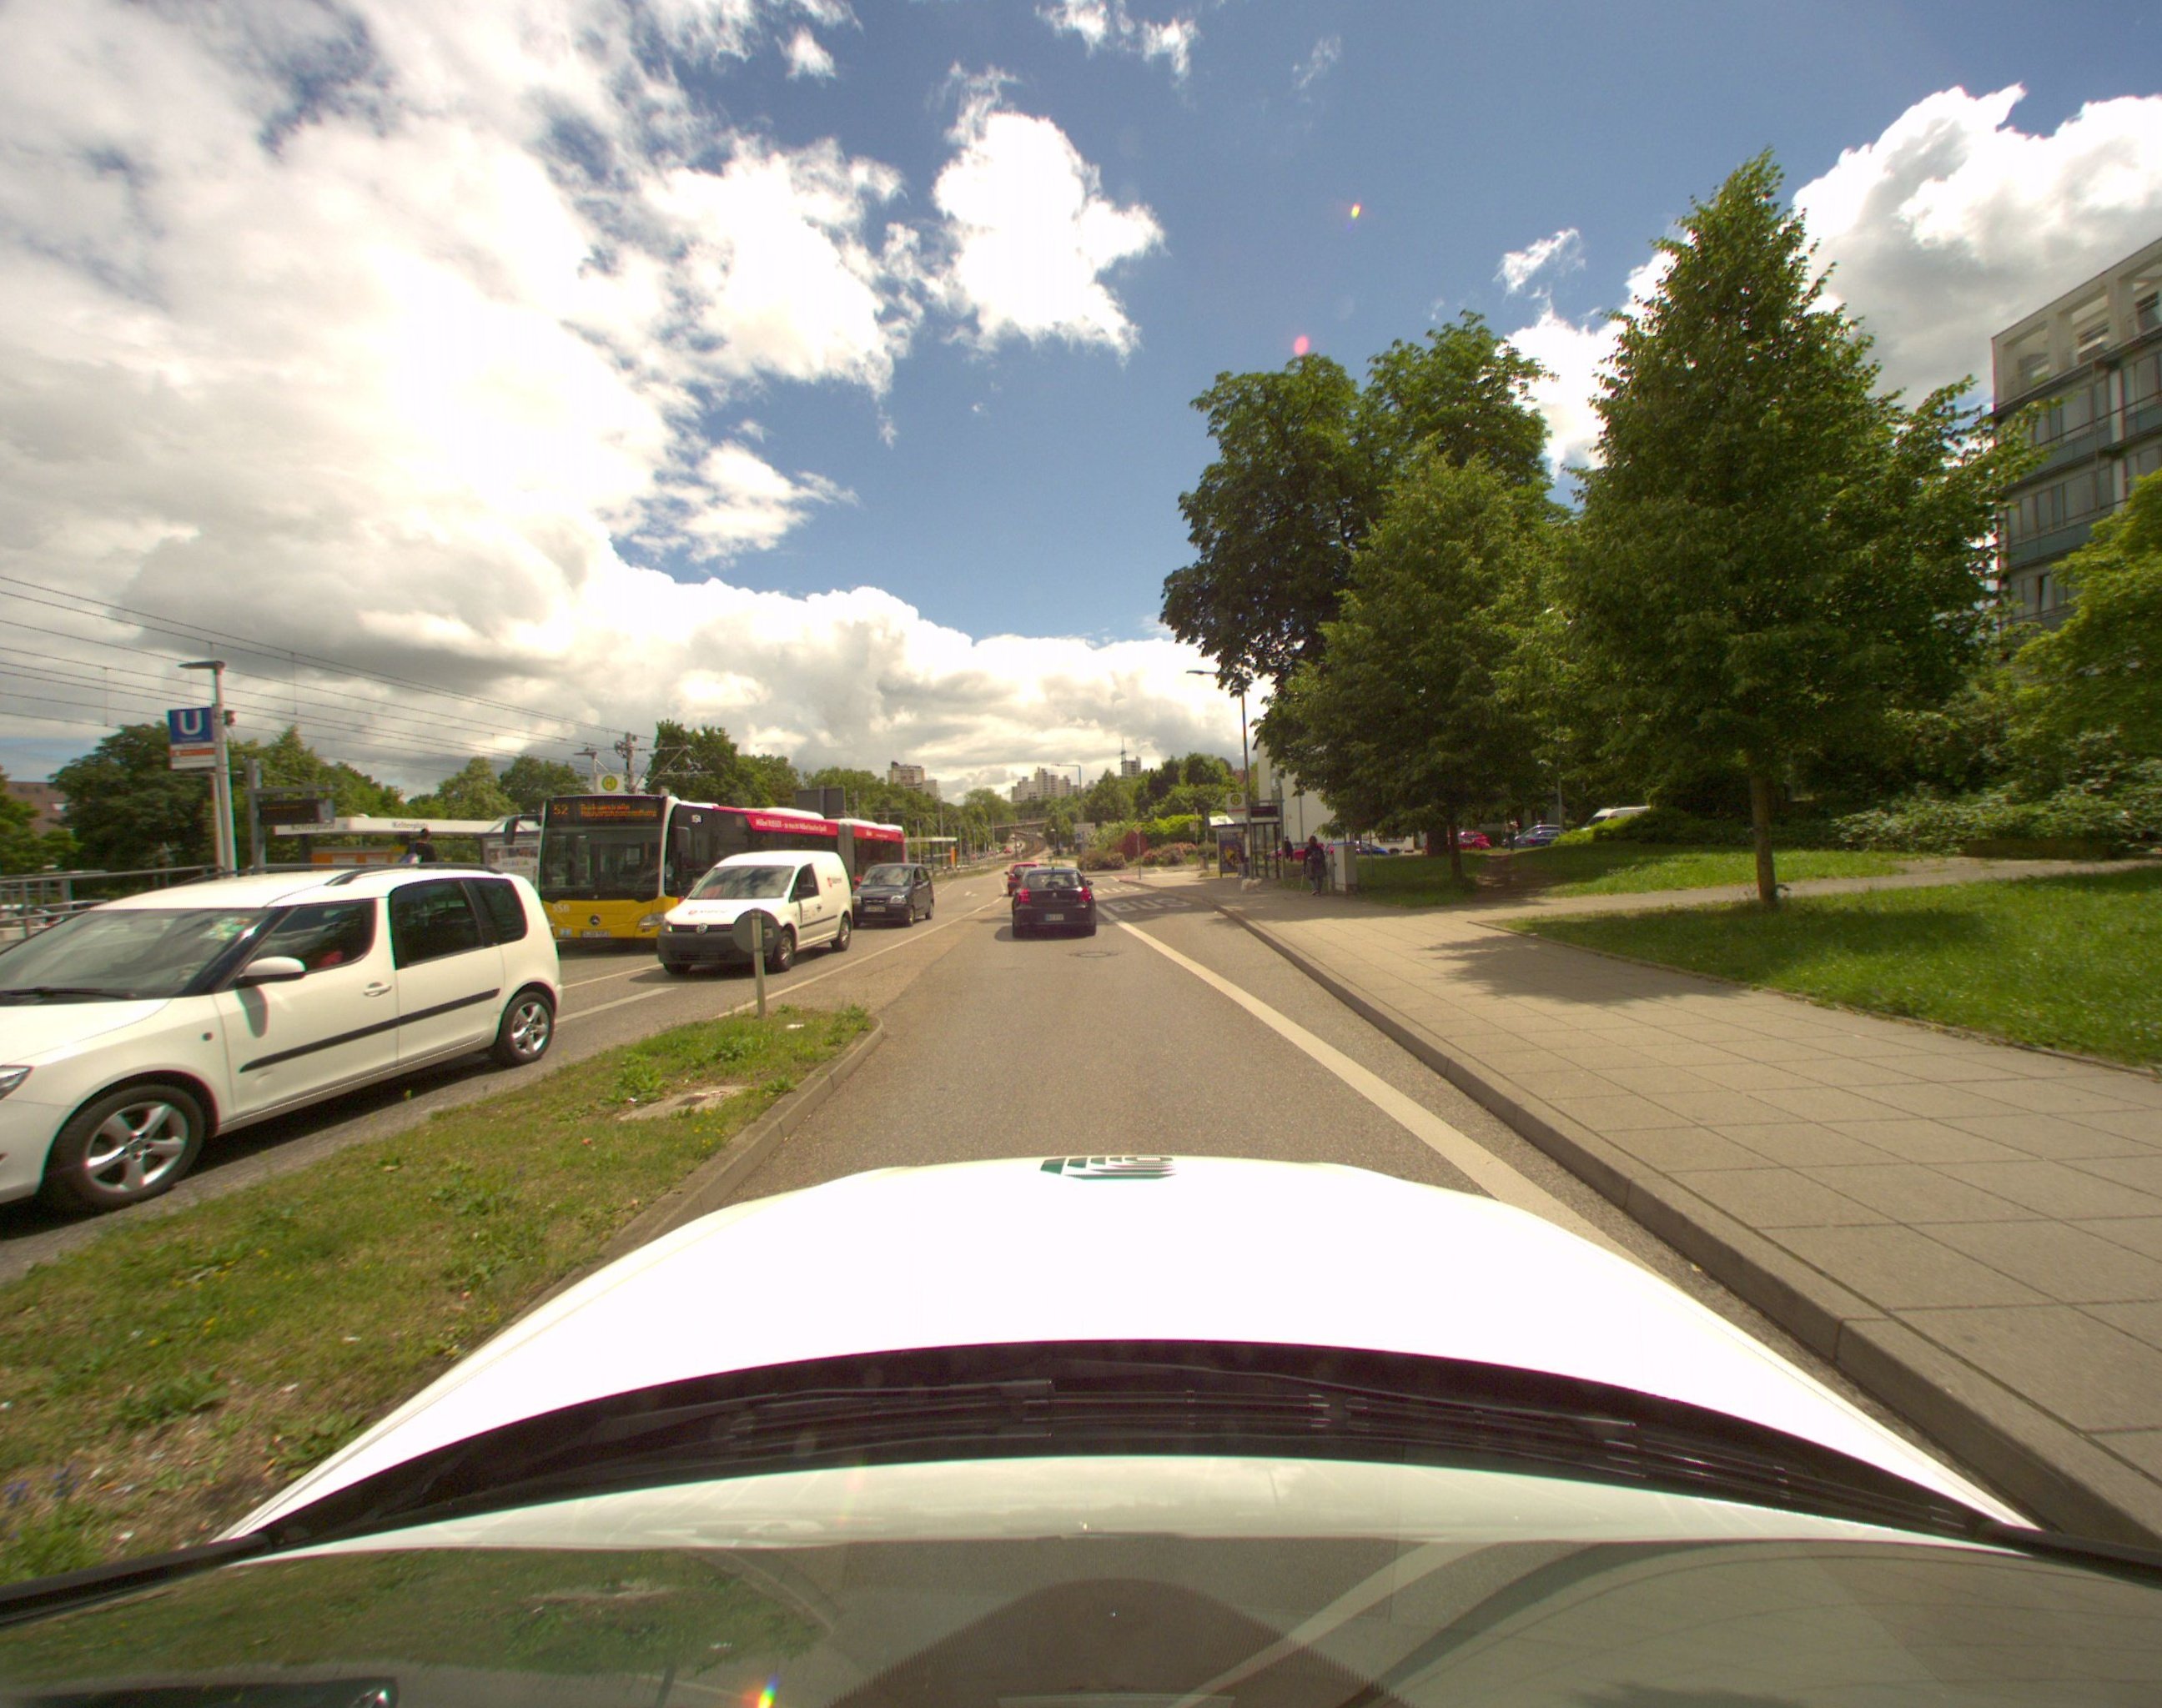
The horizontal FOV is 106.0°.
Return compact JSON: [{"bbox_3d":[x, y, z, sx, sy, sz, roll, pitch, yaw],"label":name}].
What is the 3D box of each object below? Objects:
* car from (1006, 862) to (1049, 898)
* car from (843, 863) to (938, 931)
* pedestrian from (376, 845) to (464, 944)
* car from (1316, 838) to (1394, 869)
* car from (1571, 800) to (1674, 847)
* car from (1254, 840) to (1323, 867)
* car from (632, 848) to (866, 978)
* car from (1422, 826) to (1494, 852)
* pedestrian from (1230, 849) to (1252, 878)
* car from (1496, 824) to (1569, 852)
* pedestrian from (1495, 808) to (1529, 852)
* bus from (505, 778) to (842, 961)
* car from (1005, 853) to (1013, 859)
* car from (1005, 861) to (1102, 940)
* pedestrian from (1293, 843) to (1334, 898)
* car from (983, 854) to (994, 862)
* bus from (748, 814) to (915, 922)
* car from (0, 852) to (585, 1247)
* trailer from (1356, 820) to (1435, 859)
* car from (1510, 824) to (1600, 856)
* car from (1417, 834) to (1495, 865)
[{"bbox_3d":[-2.366,1.104,36.212,1.762,1.432,3.474,-4,0,-4],"label":"car"},{"bbox_3d":[-4.816,1.037,21.062,1.524,1.551,3.732,-1,-1,1],"label":"car"},{"bbox_3d":[-14.203,0.846,17.525,0.966,2.014,1.030,-3,-1,4],"label":"pedestrian"},{"bbox_3d":[15.776,-0.046,47.059,3.783,1.456,1.895,-4,1,-2],"label":"car"},{"bbox_3d":[37.692,-2.112,56.761,5.559,2.866,2.204,-4,0,0],"label":"car"},{"bbox_3d":[14.271,-0.061,56.142,4.149,1.561,1.997,-3,2,-5],"label":"car"},{"bbox_3d":[-5.121,0.802,13.339,1.755,1.662,4.508,-4,0,2],"label":"car"},{"bbox_3d":[26.163,-1.038,56.626,4.069,1.502,1.999,-4,1,-1],"label":"car"},{"bbox_3d":[7.112,0.411,36.191,0.823,1.259,0.687,-3,0,4],"label":"pedestrian"},{"bbox_3d":[31.326,-1.096,56.620,3.972,1.723,1.909,-3,0,2],"label":"car"},{"bbox_3d":[18.331,-1.015,34.647,0.979,1.760,0.861,-3,-1,11],"label":"pedestrian"},{"bbox_3d":[-8.632,0.324,19.237,2.716,3.109,9.707,-3,-1,2],"label":"bus"},{"bbox_3d":[-18.452,0.479,209.305,1.712,1.503,2.969,-3,1,3],"label":"car"},{"bbox_3d":[-0.504,0.924,17.823,1.809,1.421,4.000,-4,-1,1],"label":"car"},{"bbox_3d":[6.251,0.448,21.968,0.816,1.425,0.830,-3,-1,1],"label":"pedestrian"},{"bbox_3d":[-21.779,0.928,192.107,1.904,1.561,4.004,-3,1,4],"label":"car"},{"bbox_3d":[-8.306,0.447,28.566,2.716,3.070,8.966,-3,-1,2],"label":"bus"},{"bbox_3d":[-5.313,0.842,5.148,1.692,1.649,4.080,-2,0,2],"label":"car"},{"bbox_3d":[21.802,-1.002,56.552,4.523,2.486,2.221,-3,1,-1],"label":"trailer"},{"bbox_3d":[27.663,-0.803,47.603,4.069,1.559,1.998,-3,0,-3],"label":"car"},{"bbox_3d":[21.796,-0.273,47.443,3.676,1.643,1.829,-3,1,-2],"label":"car"}]
